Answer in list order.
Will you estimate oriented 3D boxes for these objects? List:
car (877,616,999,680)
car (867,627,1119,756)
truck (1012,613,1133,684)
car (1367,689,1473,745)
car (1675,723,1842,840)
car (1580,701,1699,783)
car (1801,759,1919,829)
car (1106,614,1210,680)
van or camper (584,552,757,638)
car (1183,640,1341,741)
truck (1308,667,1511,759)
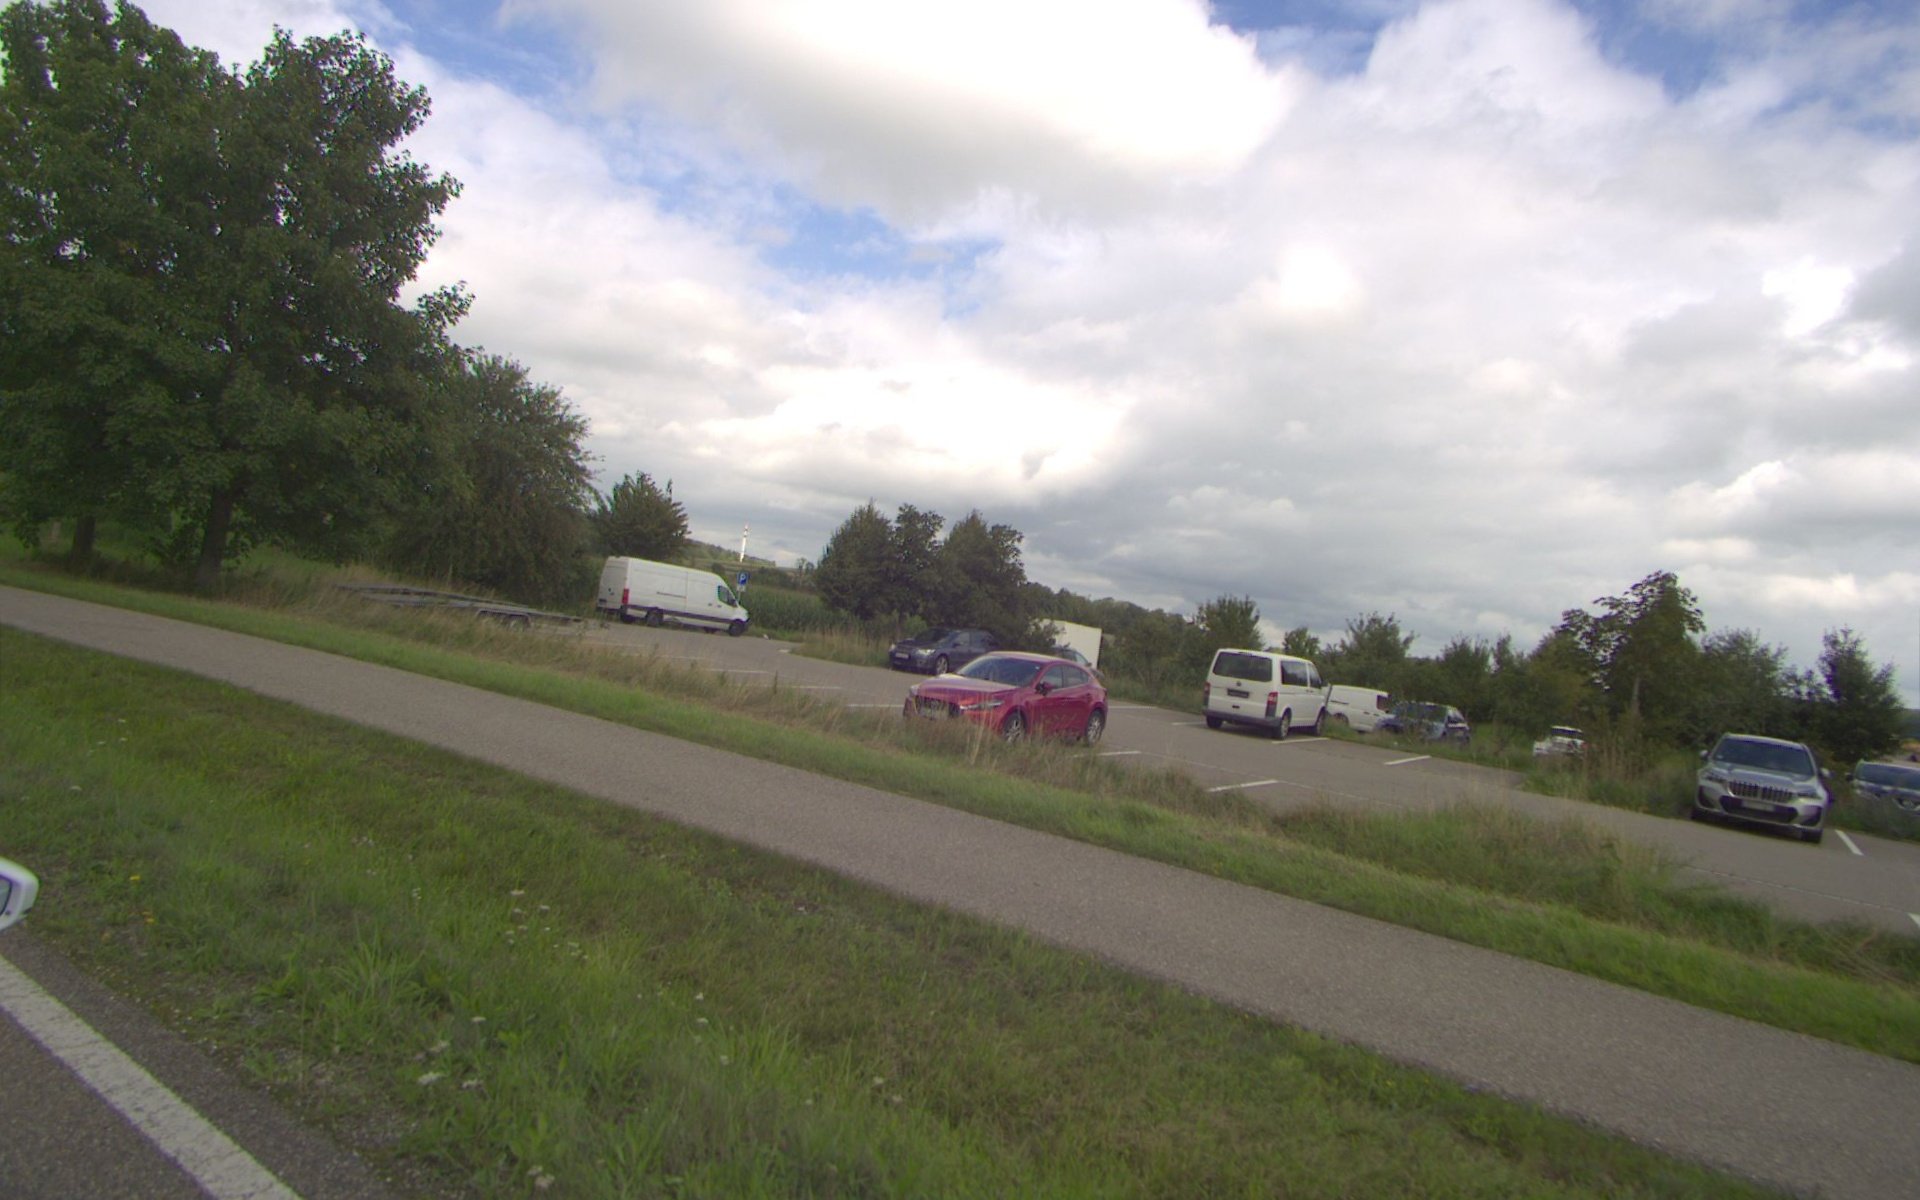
[{"bbox_3d":[-0.620,1.486,30.746,1.681,1.456,3.628,7,-2,37],"label":"car"},{"bbox_3d":[0.691,1.488,16.376,1.940,1.594,4.332,7,-1,35],"label":"car"},{"bbox_3d":[5.900,2.565,51.765,2.789,2.745,6.885,7,-2,37],"label":"truck"},{"bbox_3d":[12.978,3.314,28.259,1.968,1.180,3.993,7,-2,35],"label":"car"},{"bbox_3d":[14.550,3.231,18.542,1.730,1.625,3.696,7,-2,30],"label":"car"},{"bbox_3d":[17.339,3.592,25.856,1.966,1.614,3.998,7,-2,29],"label":"car"},{"bbox_3d":[21.776,4.619,24.113,1.968,1.180,3.993,7,-2,35],"label":"car"},{"bbox_3d":[6.357,1.532,31.976,1.966,1.614,3.998,7,-2,29],"label":"car"},{"bbox_3d":[-11.931,-0.128,42.047,2.019,2.590,6.744,7,-2,39],"label":"van or camper"},{"bbox_3d":[7.710,2.286,25.305,2.196,2.024,5.030,7,-1,35],"label":"car"},{"bbox_3d":[16.584,4.132,37.190,6.281,2.243,3.135,7,-2,33],"label":"truck"}]
